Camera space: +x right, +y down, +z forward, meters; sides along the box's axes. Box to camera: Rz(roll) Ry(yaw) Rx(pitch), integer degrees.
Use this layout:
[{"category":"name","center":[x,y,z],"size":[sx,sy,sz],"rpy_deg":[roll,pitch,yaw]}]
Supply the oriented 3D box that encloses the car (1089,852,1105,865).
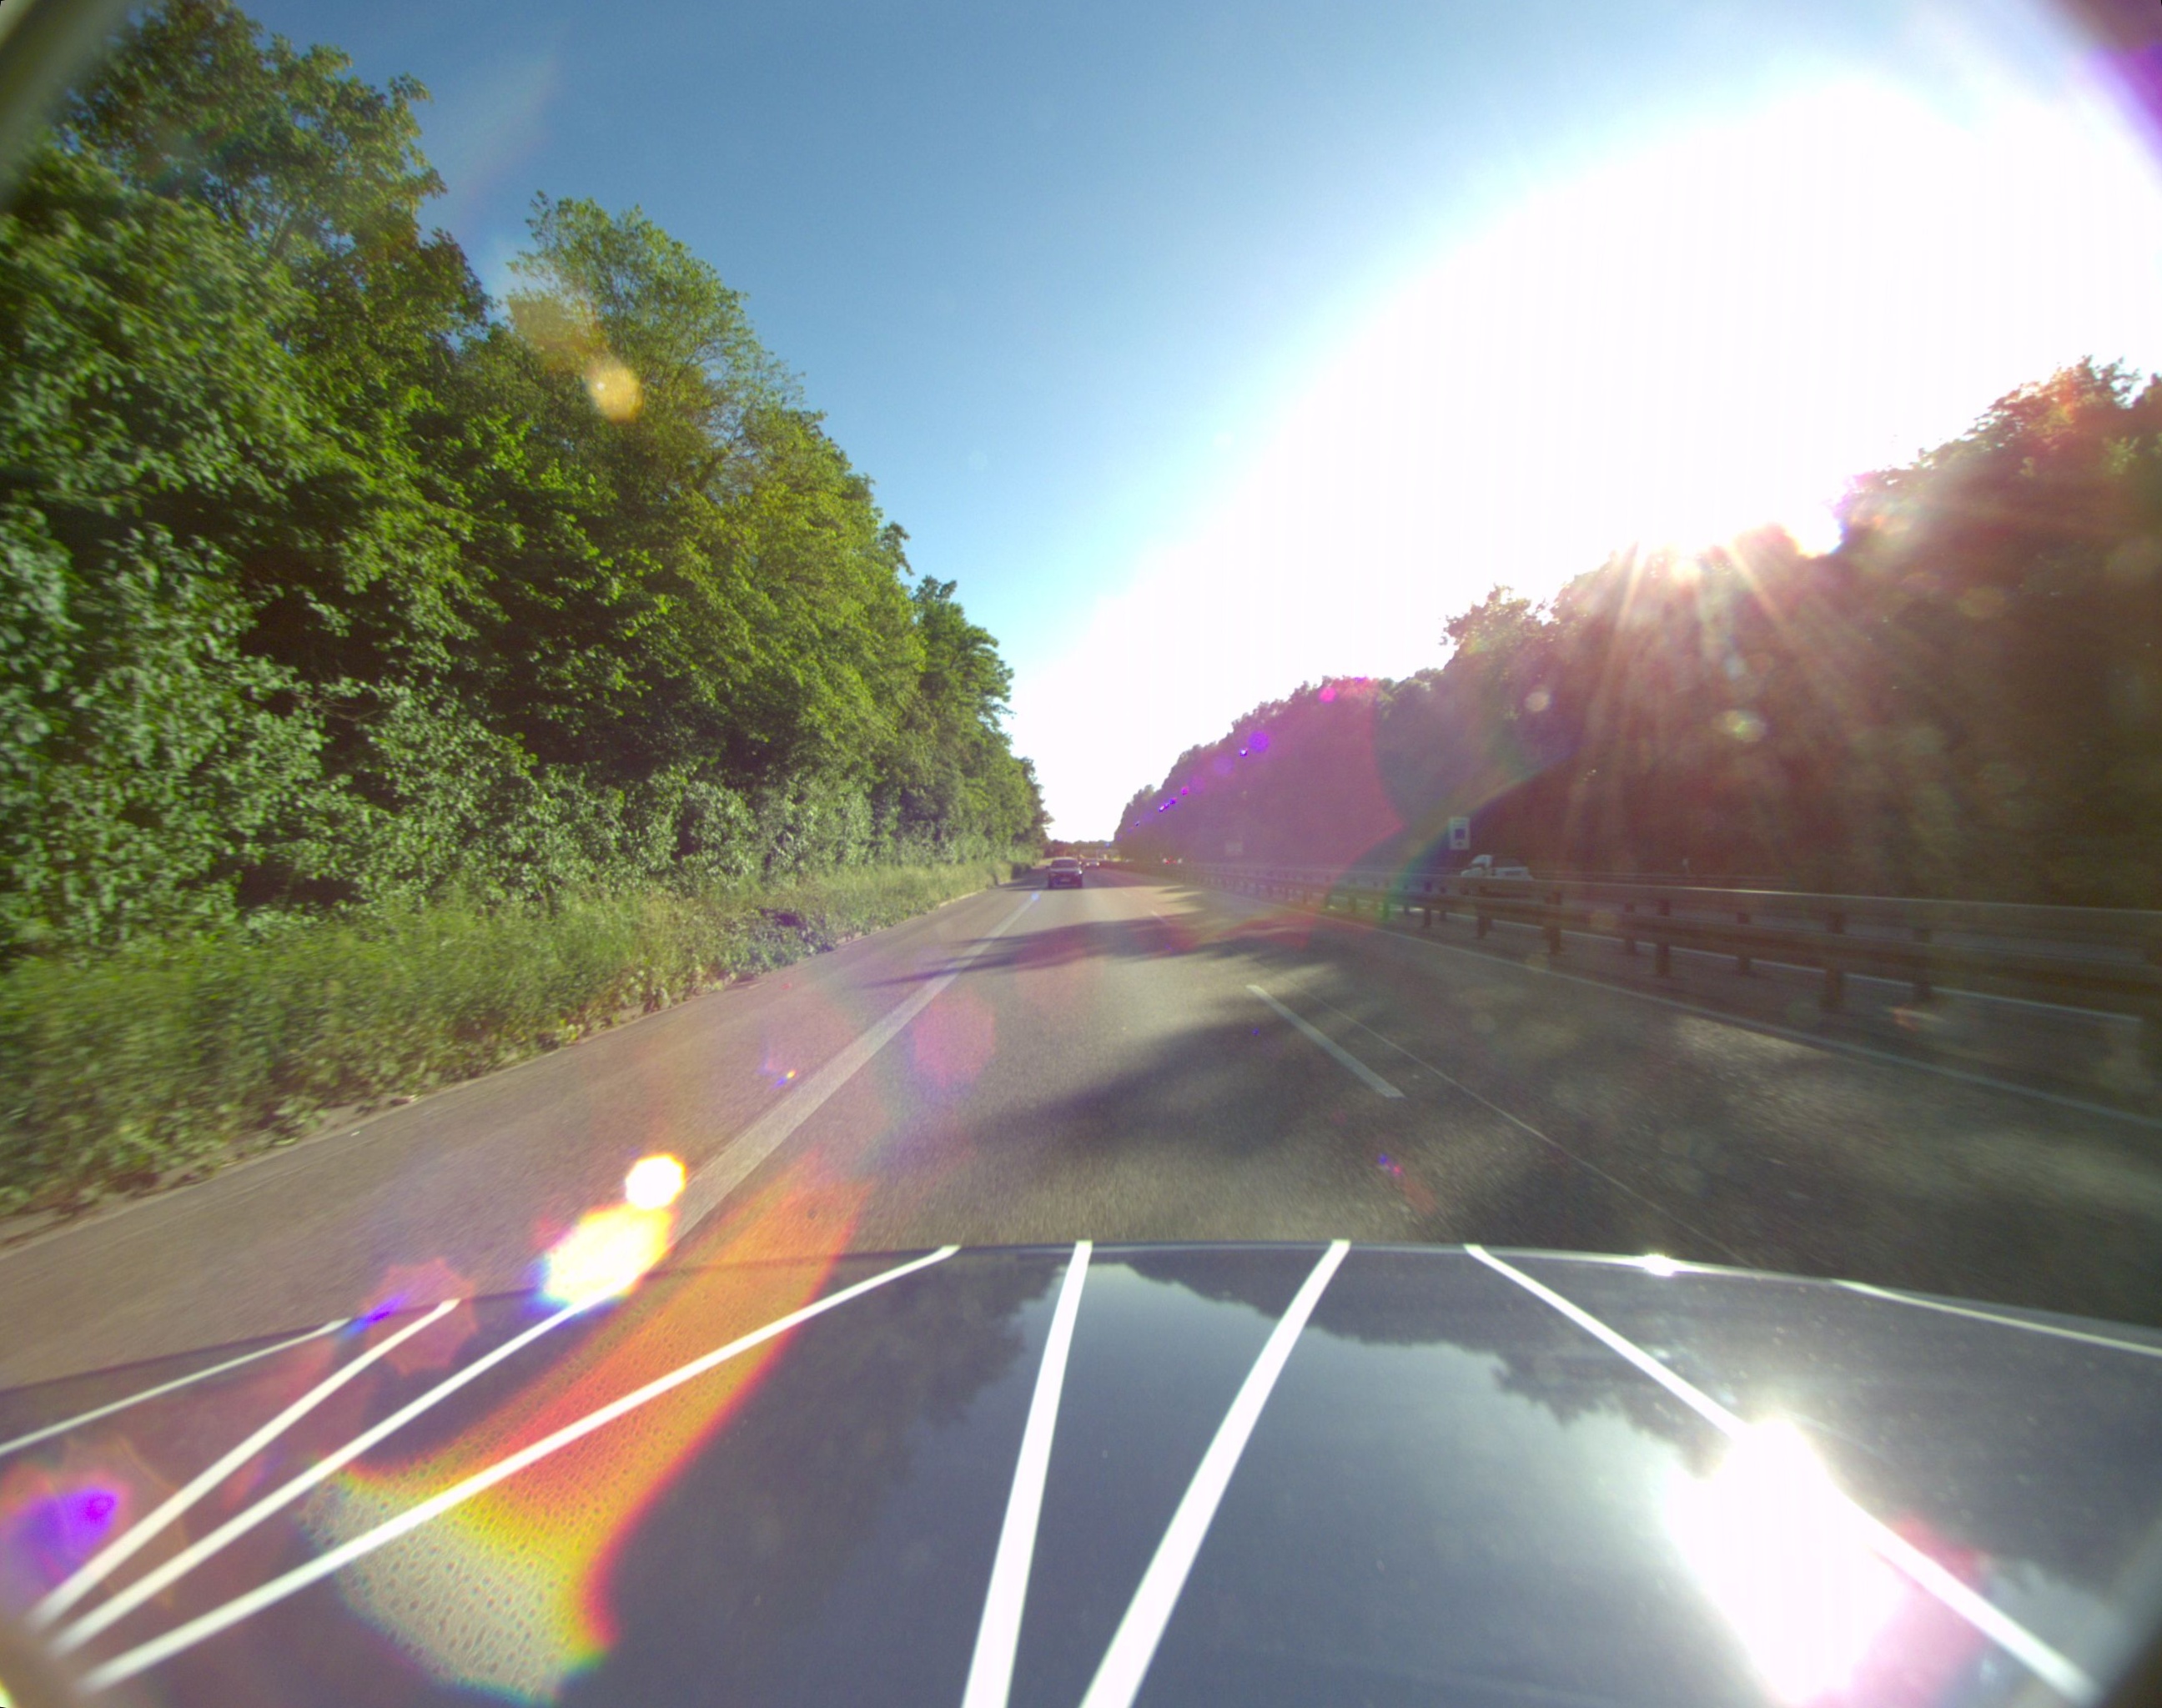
[{"category":"car","center":[2.144,0.584,101.762],"size":[1.999,1.793,3.999],"rpy_deg":[1,0,-1]}]

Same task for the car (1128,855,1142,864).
[{"category":"car","center":[9.235,0.876,131.004],"size":[1.999,1.455,4.739],"rpy_deg":[1,0,-1]}]

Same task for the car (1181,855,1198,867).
[{"category":"car","center":[13.860,0.864,97.118],"size":[1.610,1.414,3.999],"rpy_deg":[-1,0,-1]}]

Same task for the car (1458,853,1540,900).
[{"category":"car","center":[15.190,0.765,27.748],"size":[1.417,1.610,2.875],"rpy_deg":[-1,0,0]}]

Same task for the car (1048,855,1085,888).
[{"category":"car","center":[-0.723,0.886,39.601],"size":[1.712,1.565,3.422],"rpy_deg":[-2,0,1]}]

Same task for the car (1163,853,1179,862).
[{"category":"car","center":[15.366,0.543,129.718],"size":[1.999,1.455,4.901],"rpy_deg":[1,0,-1]}]
